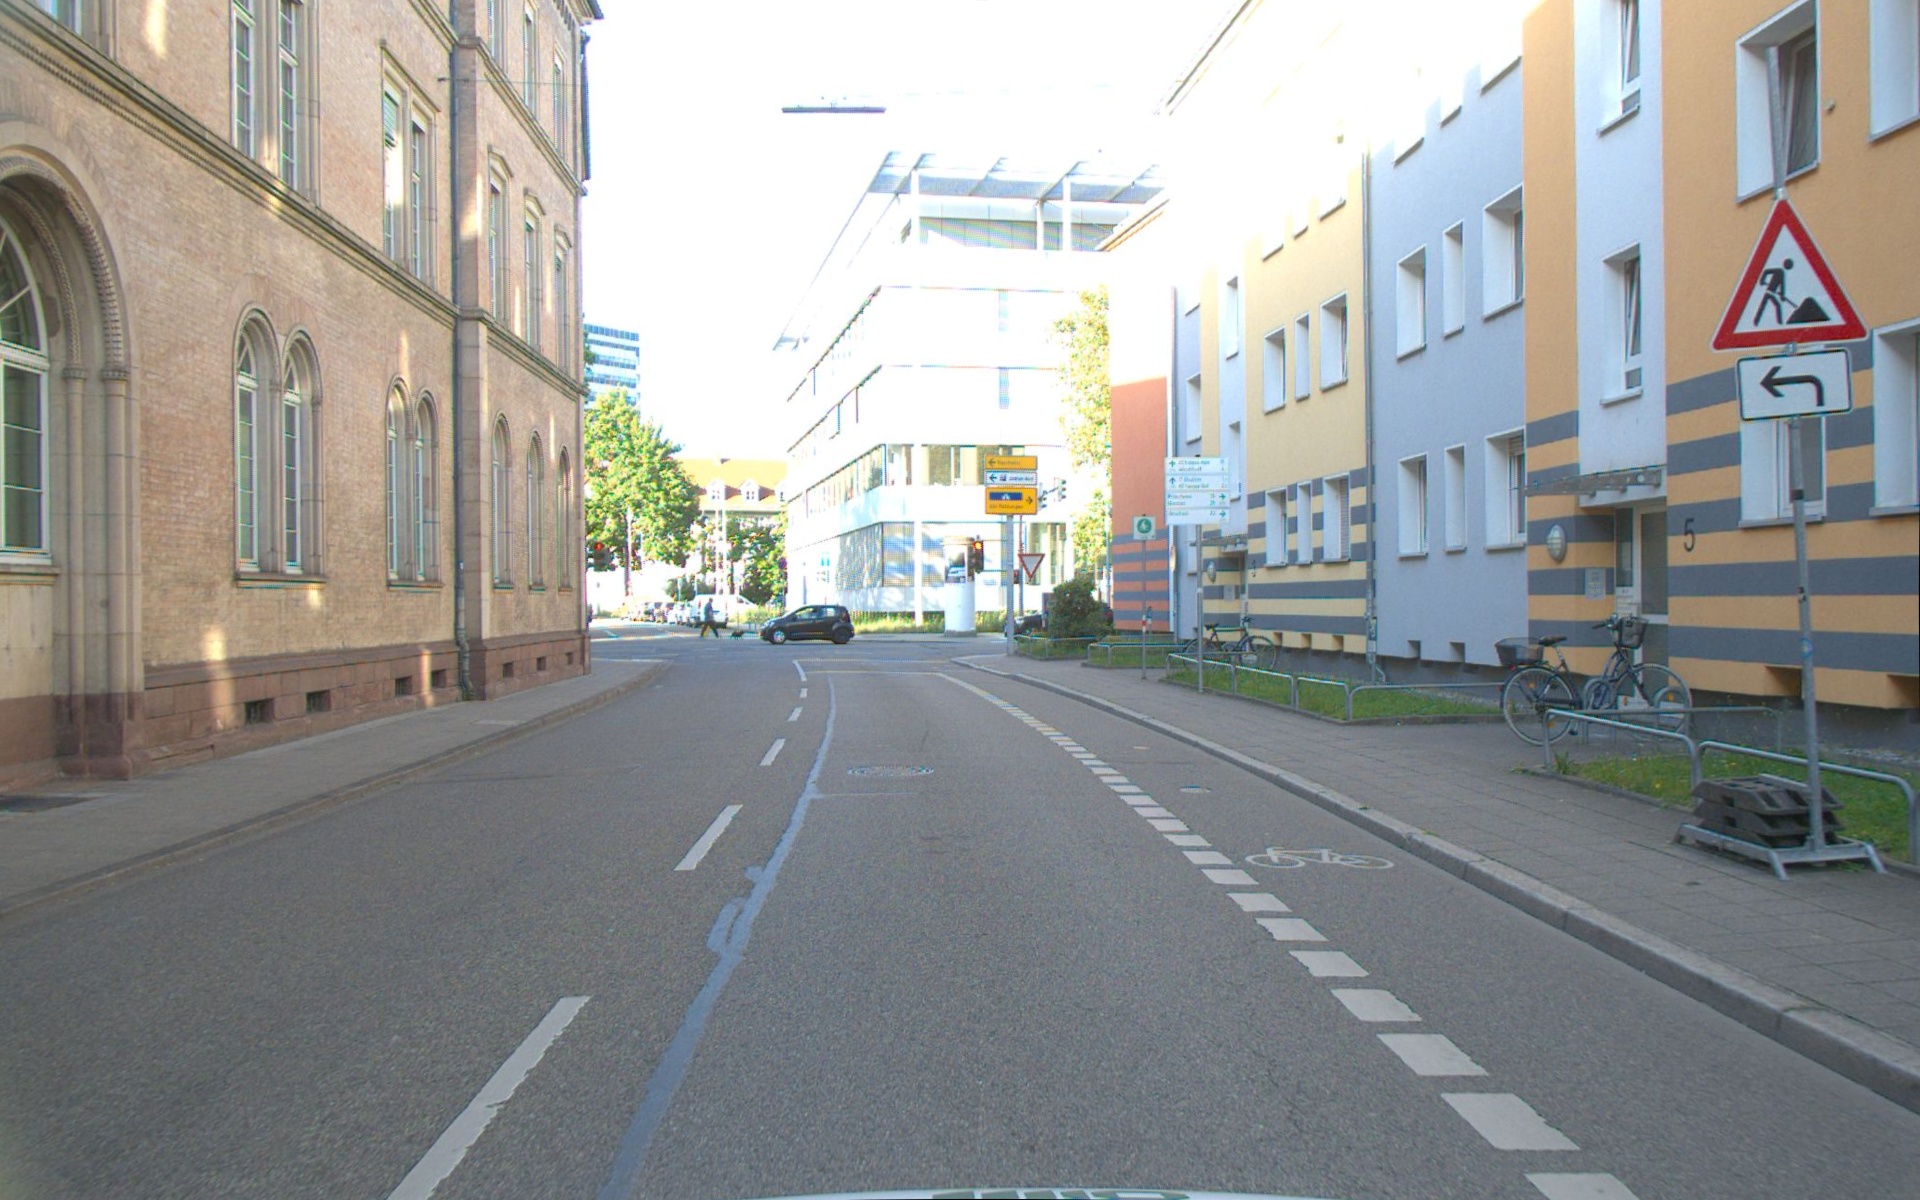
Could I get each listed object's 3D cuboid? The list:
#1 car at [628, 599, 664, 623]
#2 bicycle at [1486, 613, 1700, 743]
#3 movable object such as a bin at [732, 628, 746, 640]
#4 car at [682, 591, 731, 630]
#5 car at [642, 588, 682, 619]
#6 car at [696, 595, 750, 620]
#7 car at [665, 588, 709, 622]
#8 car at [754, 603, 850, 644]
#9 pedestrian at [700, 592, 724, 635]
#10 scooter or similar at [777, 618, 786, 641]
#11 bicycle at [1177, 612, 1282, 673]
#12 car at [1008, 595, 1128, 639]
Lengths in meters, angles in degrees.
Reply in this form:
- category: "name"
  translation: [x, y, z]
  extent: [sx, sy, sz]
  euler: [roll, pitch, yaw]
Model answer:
- category: "car"
  translation: [-24.311, 0.849, 127.876]
  extent: [2.291, 1.764, 4.985]
  euler: [2, -1, -15]
- category: "bicycle"
  translation: [5.874, 0.715, 15.395]
  extent: [1.774, 1.157, 0.551]
  euler: [-1, -1, -3]
- category: "movable object such as a bin"
  translation: [-9.572, 1.462, 71.723]
  extent: [0.580, 0.489, 0.285]
  euler: [-1, 0, -18]
- category: "car"
  translation: [-15.002, 0.632, 97.671]
  extent: [2.382, 2.149, 5.213]
  euler: [1, -1, -13]
- category: "car"
  translation: [-21.305, 0.252, 118.107]
  extent: [2.291, 2.149, 4.985]
  euler: [2, -1, -15]
- category: "car"
  translation: [-19.350, 0.592, 135.032]
  extent: [3.935, 1.949, 1.905]
  euler: [2, -1, -25]
- category: "car"
  translation: [-18.009, 0.360, 108.923]
  extent: [2.291, 2.149, 4.985]
  euler: [2, -1, -15]
- category: "car"
  translation: [-5.962, 0.874, 62.212]
  extent: [3.371, 1.471, 1.768]
  euler: [0, -1, -14]
- category: "pedestrian"
  translation: [-10.544, 0.569, 70.298]
  extent: [0.911, 1.790, 0.844]
  euler: [2, -1, -14]
- category: "scooter or similar"
  translation: [-8.585, 1.400, 79.472]
  extent: [0.319, 1.078, 1.138]
  euler: [0, 0, -13]
- category: "bicycle"
  translation: [4.797, 0.751, 29.518]
  extent: [1.720, 1.021, 0.612]
  euler: [-2, -1, -6]
- category: "car"
  translation: [4.191, 0.642, 64.462]
  extent: [4.290, 1.662, 1.993]
  euler: [-1, 0, -13]
